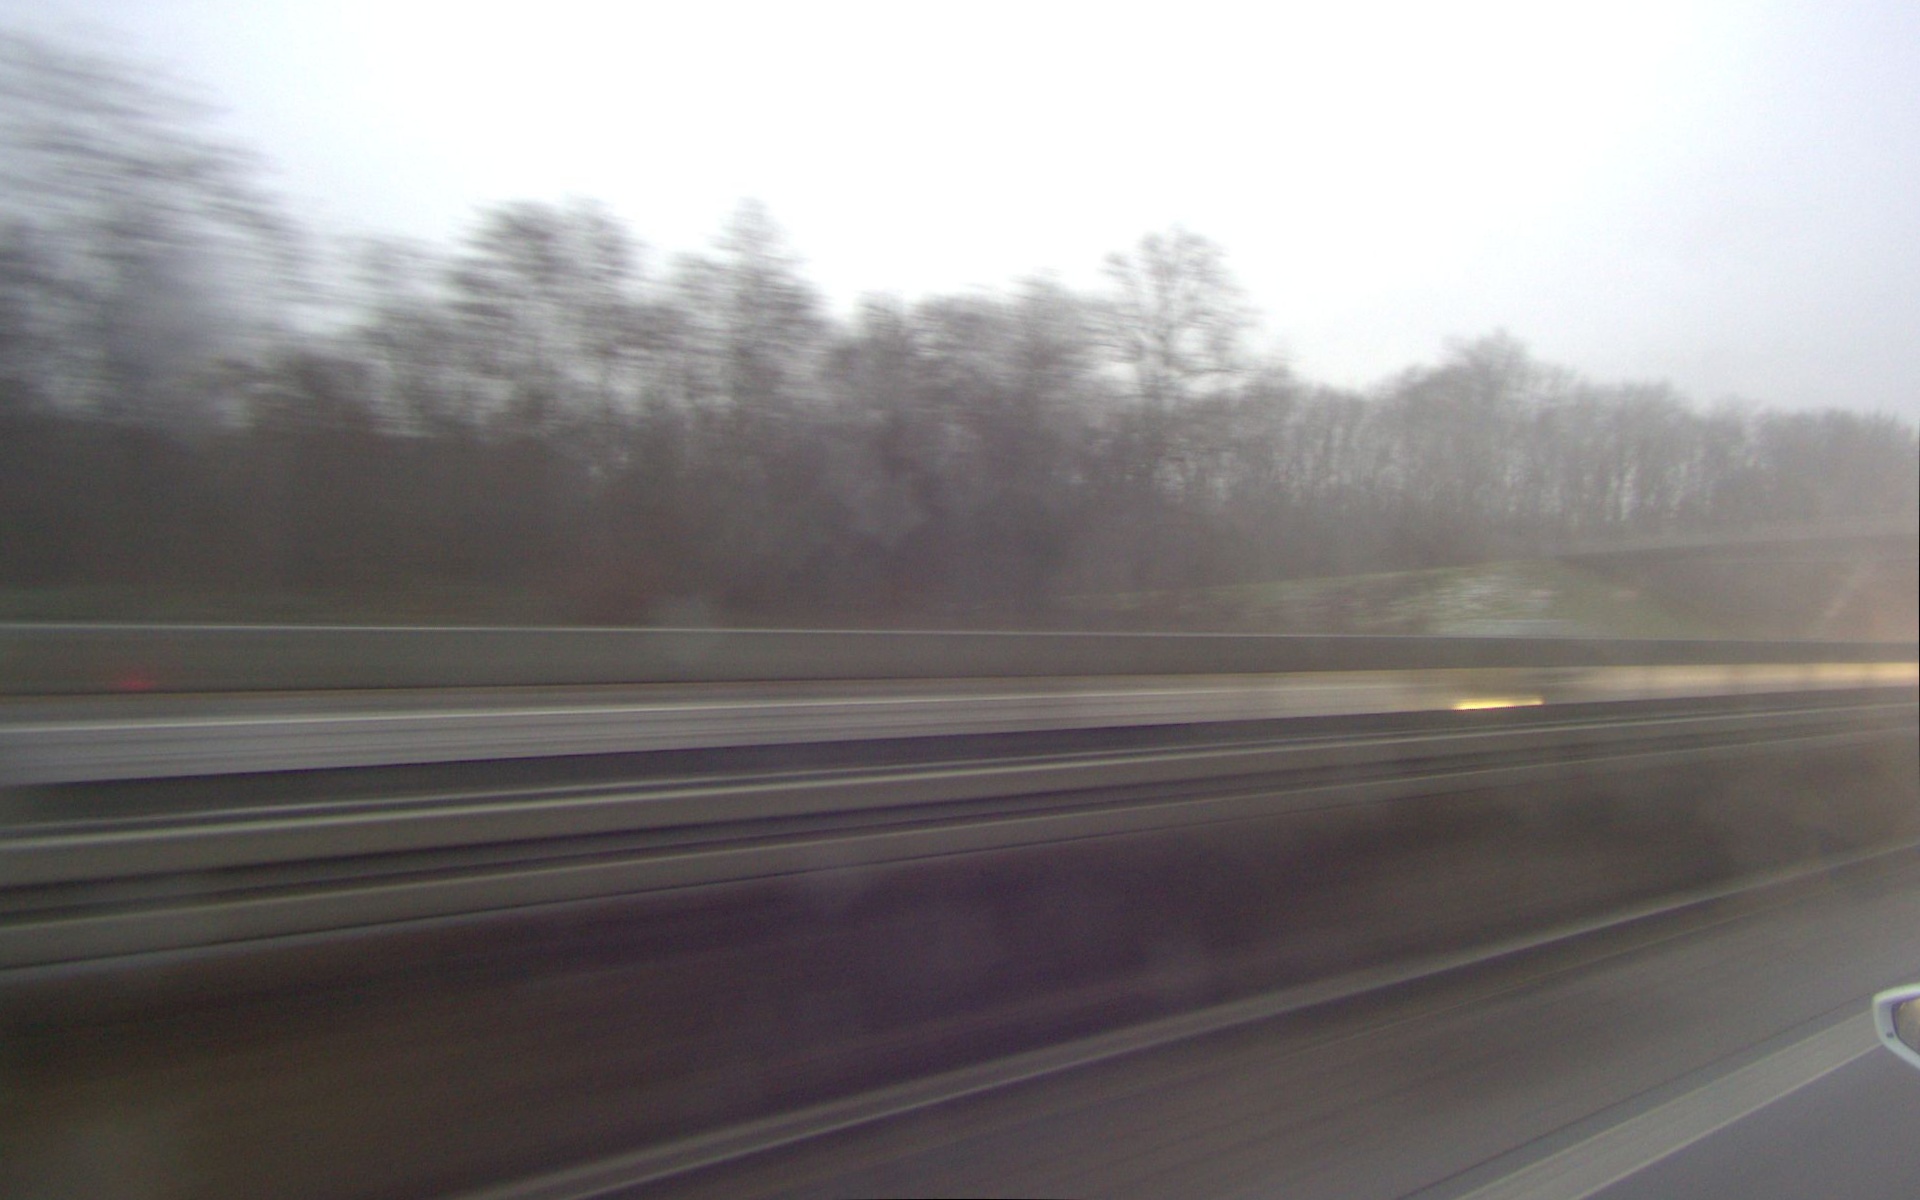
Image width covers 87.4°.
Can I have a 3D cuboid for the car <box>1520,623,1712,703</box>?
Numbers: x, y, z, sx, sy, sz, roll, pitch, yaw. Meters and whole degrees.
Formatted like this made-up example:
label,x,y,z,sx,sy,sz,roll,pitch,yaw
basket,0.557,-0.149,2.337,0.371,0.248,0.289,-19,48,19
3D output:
label,x,y,z,sx,sy,sz,roll,pitch,yaw
car,14.057,1.303,21.482,3.953,1.463,1.832,2,1,-30
